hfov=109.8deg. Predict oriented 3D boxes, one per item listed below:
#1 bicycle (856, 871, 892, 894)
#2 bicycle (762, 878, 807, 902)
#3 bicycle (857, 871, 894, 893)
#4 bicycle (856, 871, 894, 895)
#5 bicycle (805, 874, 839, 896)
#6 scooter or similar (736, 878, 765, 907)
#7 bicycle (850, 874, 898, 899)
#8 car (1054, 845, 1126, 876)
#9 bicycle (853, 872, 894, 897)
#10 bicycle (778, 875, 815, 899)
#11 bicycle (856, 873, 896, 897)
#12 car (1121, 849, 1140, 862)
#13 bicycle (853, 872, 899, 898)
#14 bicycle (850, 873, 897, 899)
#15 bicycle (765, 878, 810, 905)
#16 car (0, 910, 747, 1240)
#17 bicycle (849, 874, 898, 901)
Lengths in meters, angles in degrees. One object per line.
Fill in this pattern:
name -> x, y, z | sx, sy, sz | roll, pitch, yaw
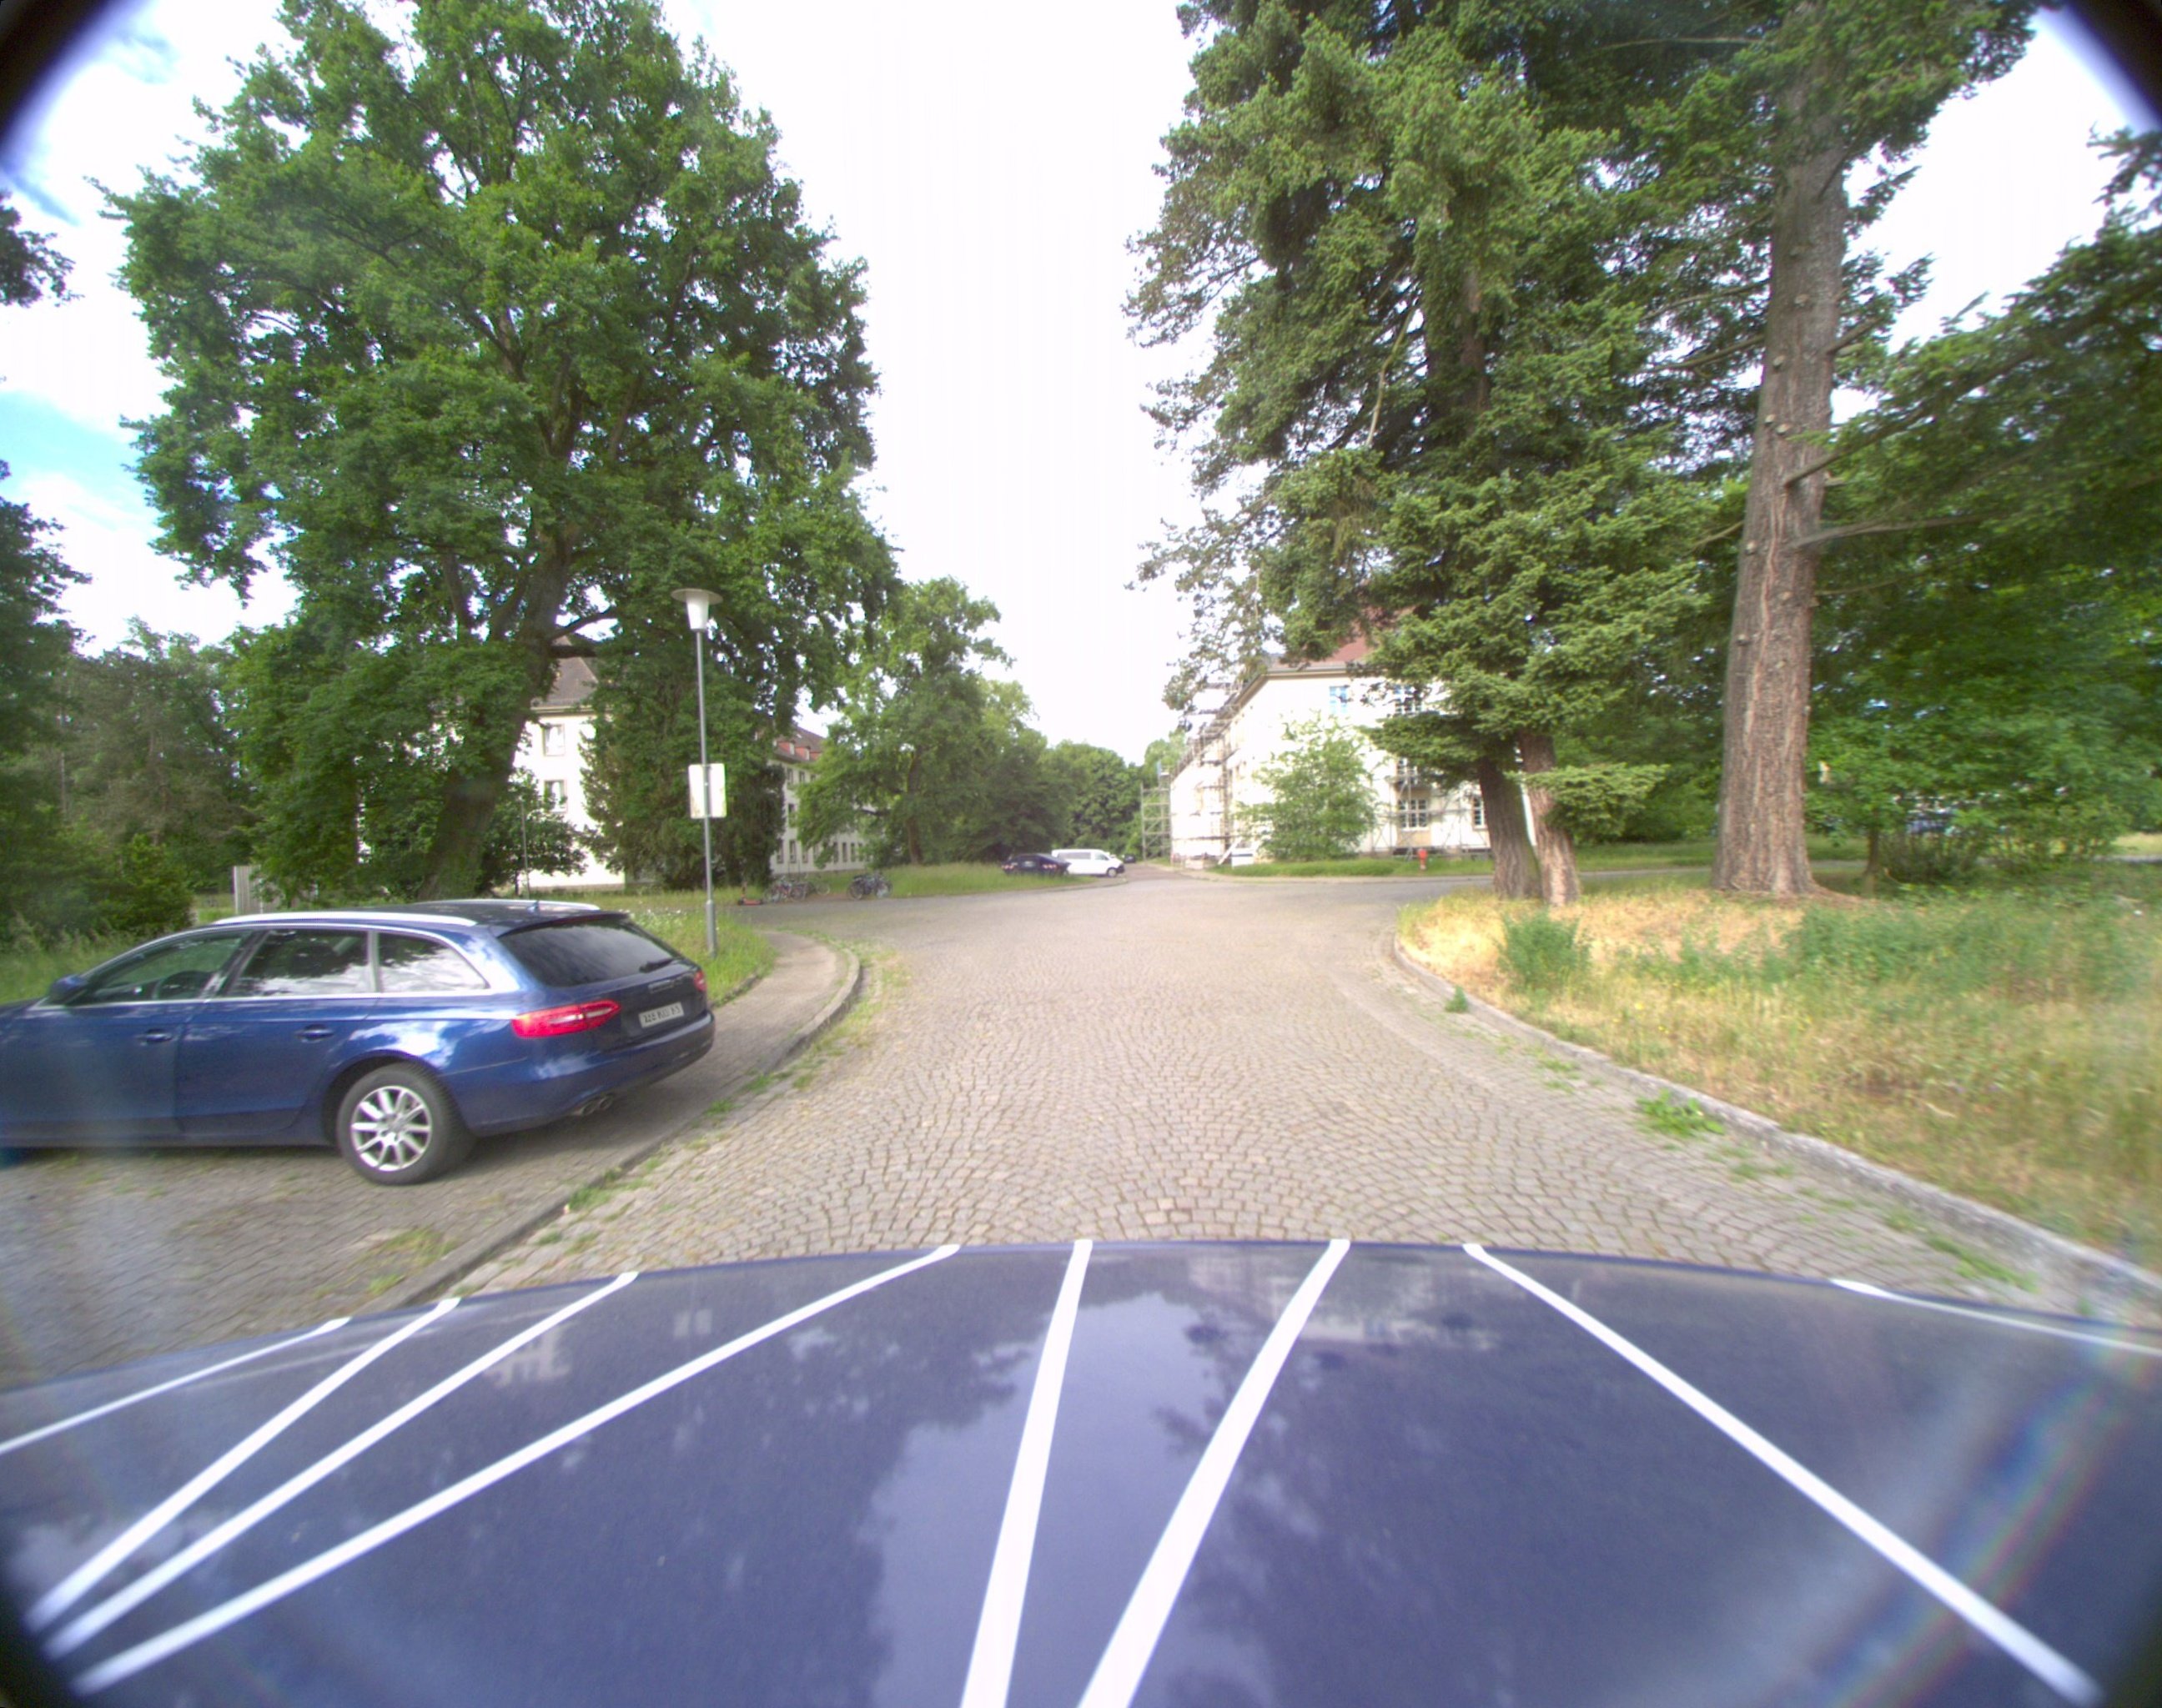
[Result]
bicycle -> -10.829, 1.493, 39.760 | 1.752, 1.082, 0.552 | -2, 3, -20
bicycle -> -13.383, 1.619, 34.294 | 1.859, 0.984, 0.455 | -2, 1, -25
bicycle -> -10.972, 1.489, 40.541 | 1.827, 1.082, 0.552 | -2, 3, -20
bicycle -> -10.565, 1.487, 39.025 | 1.810, 1.082, 0.552 | -2, 3, -20
bicycle -> -13.107, 1.547, 38.478 | 1.567, 1.028, 0.476 | -2, 1, -22
scooter or similar -> -14.407, 1.672, 33.090 | 1.062, 1.187, 0.385 | -2, 1, 4
bicycle -> -9.226, 1.438, 33.925 | 2.019, 1.004, 0.478 | -2, 3, -20
car -> 0.636, 0.461, 53.456 | 4.915, 1.983, 2.000 | -2, 0, -1
bicycle -> -10.132, 1.484, 37.171 | 1.868, 1.082, 0.519 | -2, 3, -20
bicycle -> -13.520, 1.558, 36.097 | 1.568, 1.082, 0.561 | -2, 1, -29
bicycle -> -9.815, 1.478, 36.440 | 1.790, 1.082, 0.478 | -2, 3, -20
car -> 7.814, 0.281, 119.604 | 2.028, 1.915, 3.997 | -2, 0, -9
bicycle -> -9.615, 1.436, 35.646 | 2.019, 1.082, 0.478 | -2, 3, -20
bicycle -> -9.567, 1.453, 35.006 | 2.019, 1.082, 0.478 | -2, 3, -20
bicycle -> -13.052, 1.648, 33.834 | 1.815, 1.082, 0.478 | -2, 3, -25
car -> -4.794, 1.175, 4.811 | 4.514, 1.456, 1.896 | -1, 0, 5
bicycle -> -9.131, 1.475, 33.444 | 2.019, 1.082, 0.478 | -2, 3, -20
